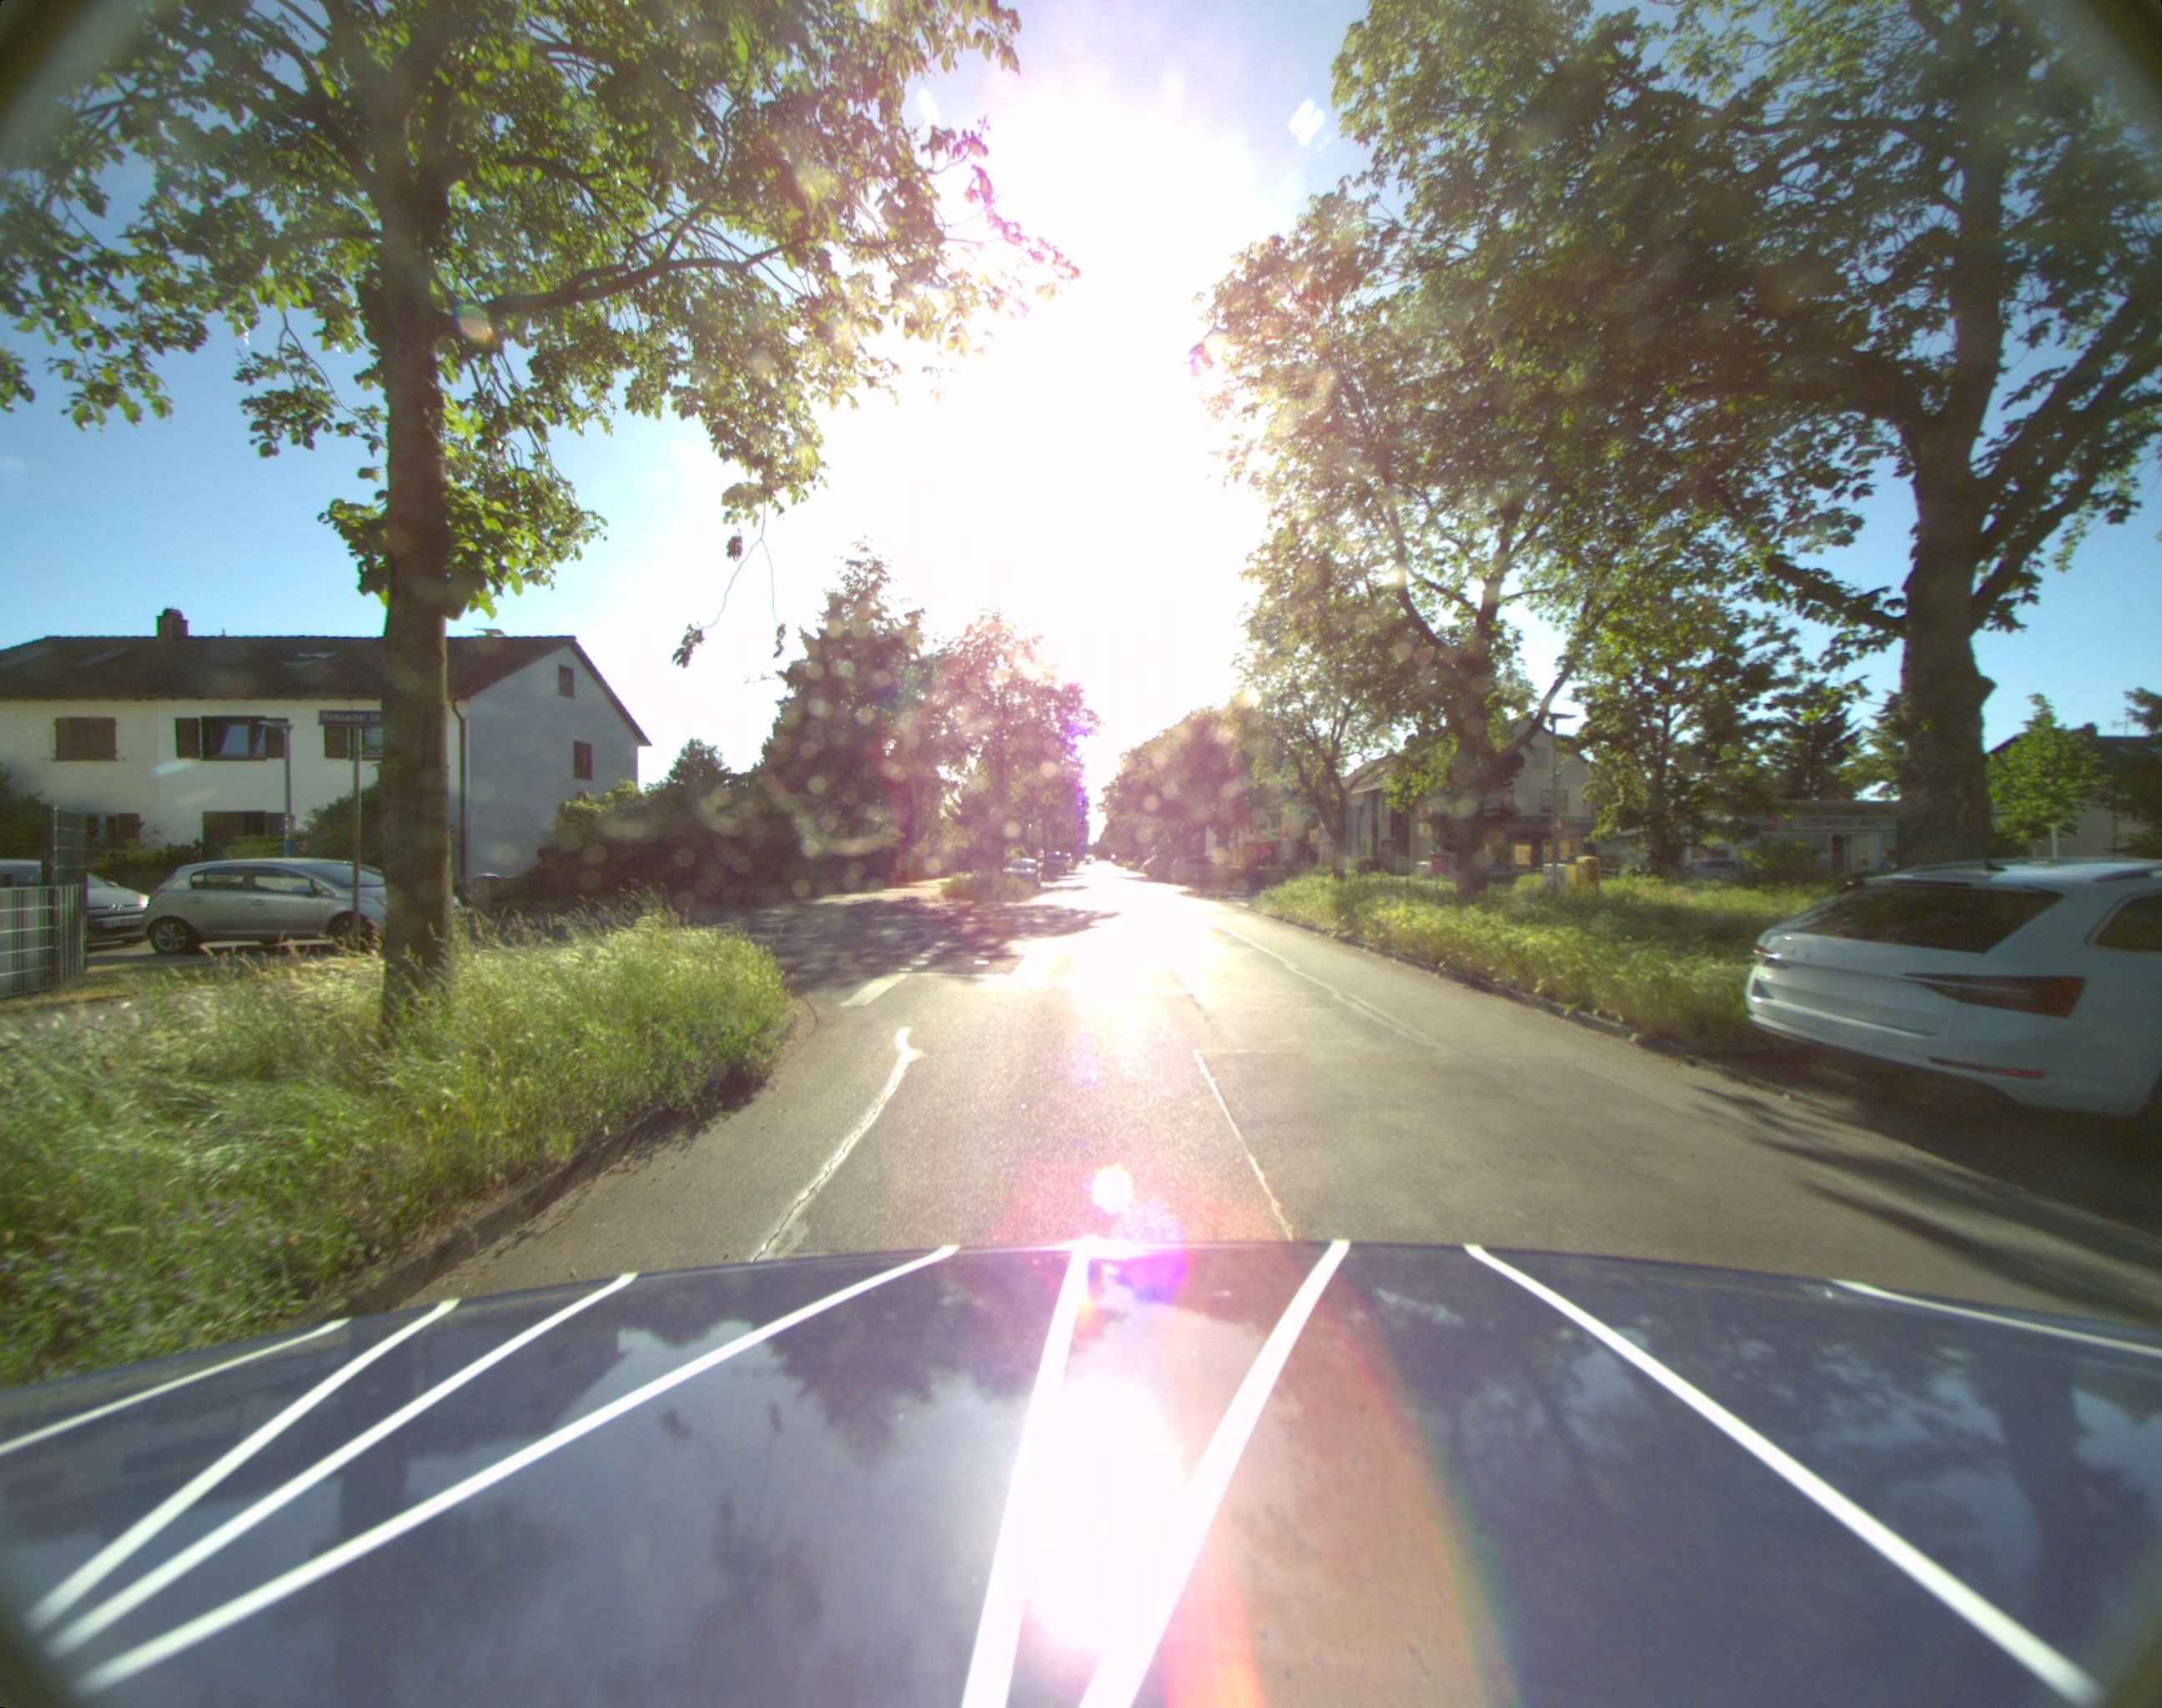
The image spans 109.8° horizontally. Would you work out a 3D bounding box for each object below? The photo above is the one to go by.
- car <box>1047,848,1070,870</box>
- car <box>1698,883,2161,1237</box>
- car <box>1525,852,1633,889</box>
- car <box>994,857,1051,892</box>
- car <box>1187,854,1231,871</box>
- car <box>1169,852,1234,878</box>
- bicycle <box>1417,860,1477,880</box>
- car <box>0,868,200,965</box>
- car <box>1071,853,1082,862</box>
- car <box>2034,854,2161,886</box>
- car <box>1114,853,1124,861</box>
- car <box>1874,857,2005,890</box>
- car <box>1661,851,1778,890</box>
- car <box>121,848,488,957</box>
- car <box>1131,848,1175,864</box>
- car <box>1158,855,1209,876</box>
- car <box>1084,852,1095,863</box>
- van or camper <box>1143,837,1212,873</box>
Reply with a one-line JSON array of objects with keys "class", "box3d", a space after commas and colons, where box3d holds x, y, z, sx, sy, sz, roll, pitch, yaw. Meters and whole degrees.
[{"class": "car", "box3d": [-2.192, 0.438, 75.835, 1.999, 2.002, 5.195, -3, 1, 0]}, {"class": "car", "box3d": [6.730, 0.966, 4.374, 4.682, 1.495, 2.000, -1, 1, 2]}, {"class": "car", "box3d": [23.816, 0.774, 36.419, 3.997, 1.704, 1.822, -1, 0, 1]}, {"class": "car", "box3d": [-2.780, 0.940, 37.019, 1.997, 1.502, 4.002, 1, 1, 8]}, {"class": "car", "box3d": [12.890, 0.821, 76.587, 3.998, 1.533, 1.869, -2, 1, -4]}, {"class": "car", "box3d": [8.005, 0.746, 50.629, 3.997, 1.651, 1.967, -1, 0, 0]}, {"class": "bicycle", "box3d": [21.747, 0.934, 45.315, 0.706, 1.169, 4.051, 0, 0, -15]}, {"class": "car", "box3d": [-17.414, 0.974, 12.455, 3.757, 1.436, 1.849, 0, 0, 0]}, {"class": "car", "box3d": [-0.838, 0.724, 149.183, 1.941, 1.684, 4.363, -1, 0, 3]}, {"class": "car", "box3d": [49.268, 0.762, 36.837, 3.866, 1.531, 1.820, 0, 0, -1]}, {"class": "car", "box3d": [8.247, 0.703, 165.001, 1.998, 1.530, 3.695, -3, 1, 3]}, {"class": "car", "box3d": [41.370, 0.914, 36.701, 3.997, 1.531, 2.000, 0, 0, 1]}, {"class": "car", "box3d": [30.714, 0.771, 36.647, 3.997, 1.810, 2.000, -1, 0, 1]}, {"class": "car", "box3d": [-12.472, 0.727, 12.461, 3.999, 1.630, 1.775, 0, 0, -5]}, {"class": "car", "box3d": [8.875, 0.252, 93.687, 5.075, 1.718, 1.999, -3, 1, -3]}, {"class": "car", "box3d": [8.672, 0.955, 64.484, 3.997, 1.450, 2.000, -3, 1, -1]}, {"class": "car", "box3d": [1.477, 0.584, 127.152, 1.539, 1.582, 3.459, -3, 1, 3]}, {"class": "van or camper", "box3d": [8.471, 0.101, 67.348, 5.789, 2.789, 2.000, -3, 1, 3]}]
